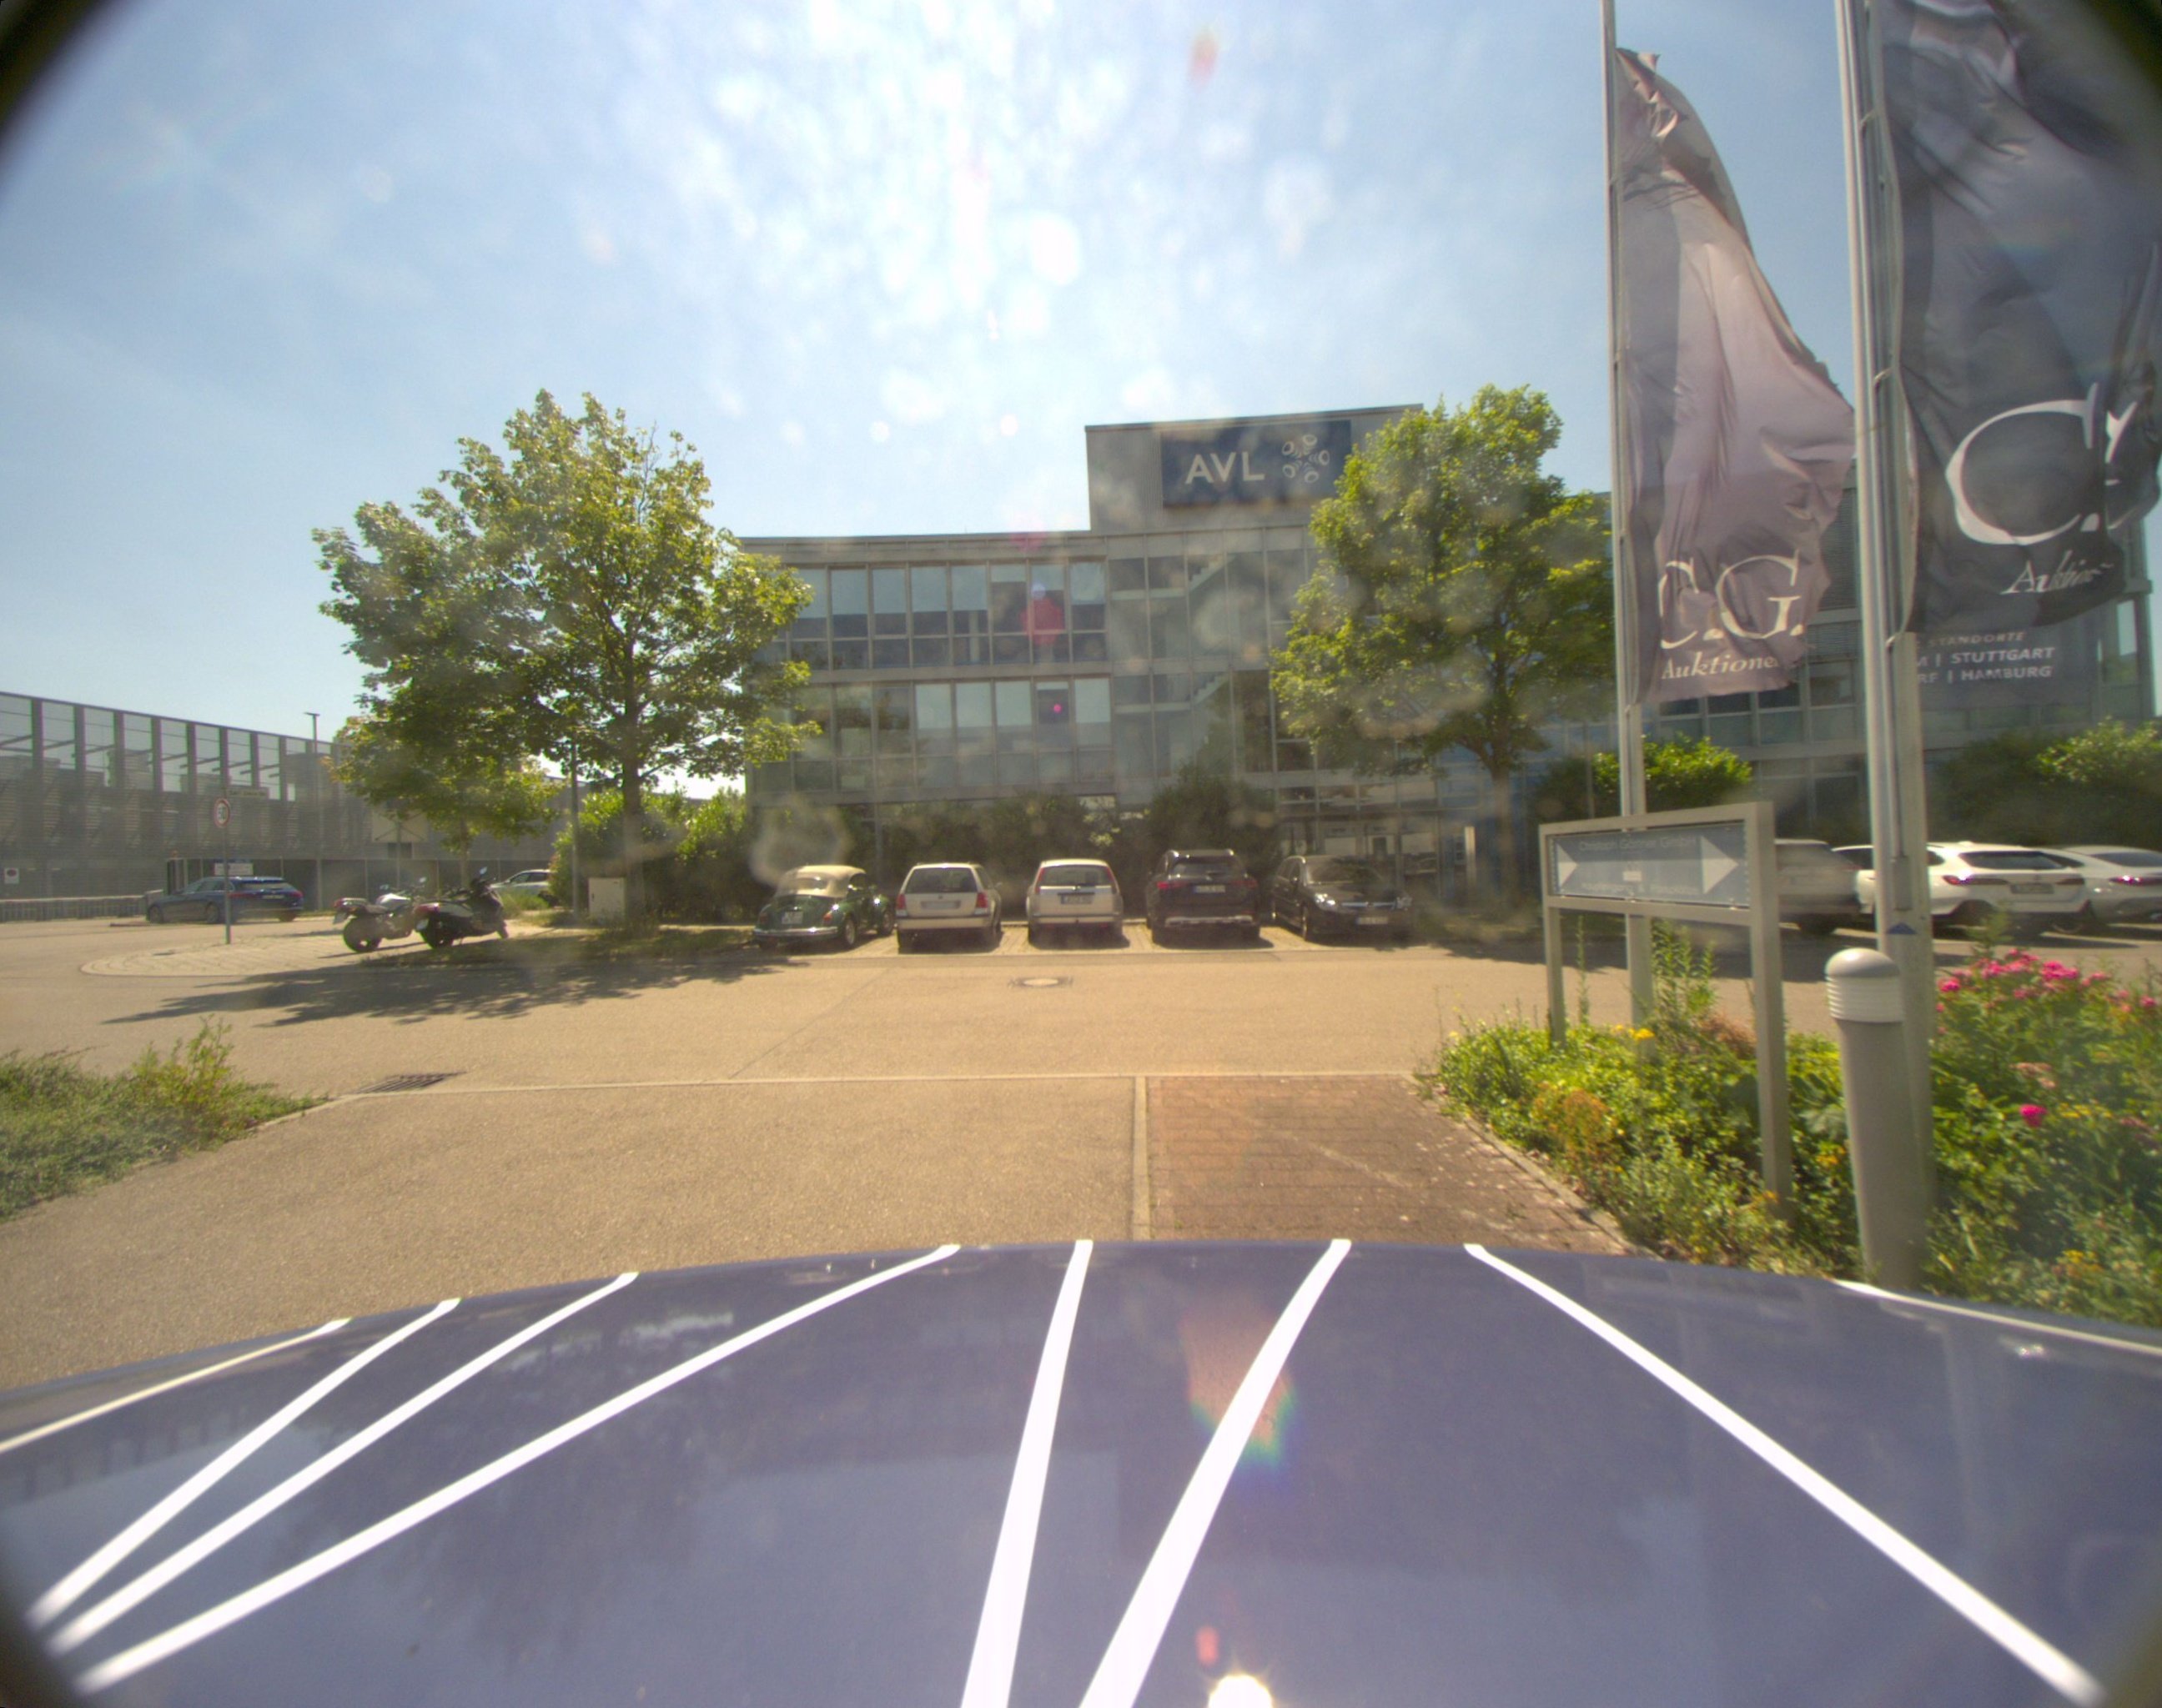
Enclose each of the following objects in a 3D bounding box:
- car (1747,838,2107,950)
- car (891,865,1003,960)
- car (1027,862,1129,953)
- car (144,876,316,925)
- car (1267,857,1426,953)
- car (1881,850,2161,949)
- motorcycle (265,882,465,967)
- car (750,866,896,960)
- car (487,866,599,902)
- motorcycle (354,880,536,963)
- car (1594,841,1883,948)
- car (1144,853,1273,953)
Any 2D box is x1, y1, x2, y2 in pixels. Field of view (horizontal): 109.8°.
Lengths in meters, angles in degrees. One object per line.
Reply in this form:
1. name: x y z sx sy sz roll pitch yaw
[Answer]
1. car: 14.182 0.582 13.193 1.831 1.628 4.173 -1 0 5
2. car: -2.368 0.980 14.247 1.642 1.443 3.599 0 1 -3
3. car: -0.150 0.929 14.747 1.732 1.443 3.599 -1 1 -3
4. car: -26.826 1.462 23.970 4.437 1.401 1.862 -2 0 17
5. car: 4.807 0.842 14.446 1.729 1.475 4.398 -2 0 4
6. car: 16.573 0.651 12.942 1.750 1.392 4.173 -1 0 5
7. motorcycle: -12.947 1.217 13.943 0.873 1.252 2.835 -1 1 2
8. car: -4.663 0.998 14.194 1.522 1.437 3.419 -1 1 0
9. car: -23.595 1.304 33.337 4.405 1.467 1.783 -1 0 20
10. motorcycle: -11.609 1.177 14.079 0.873 1.252 2.835 -1 1 2
11. car: 11.615 0.630 13.888 1.831 1.628 4.172 -1 0 3
12. car: 2.261 0.813 14.452 1.938 1.593 3.860 -1 1 2
